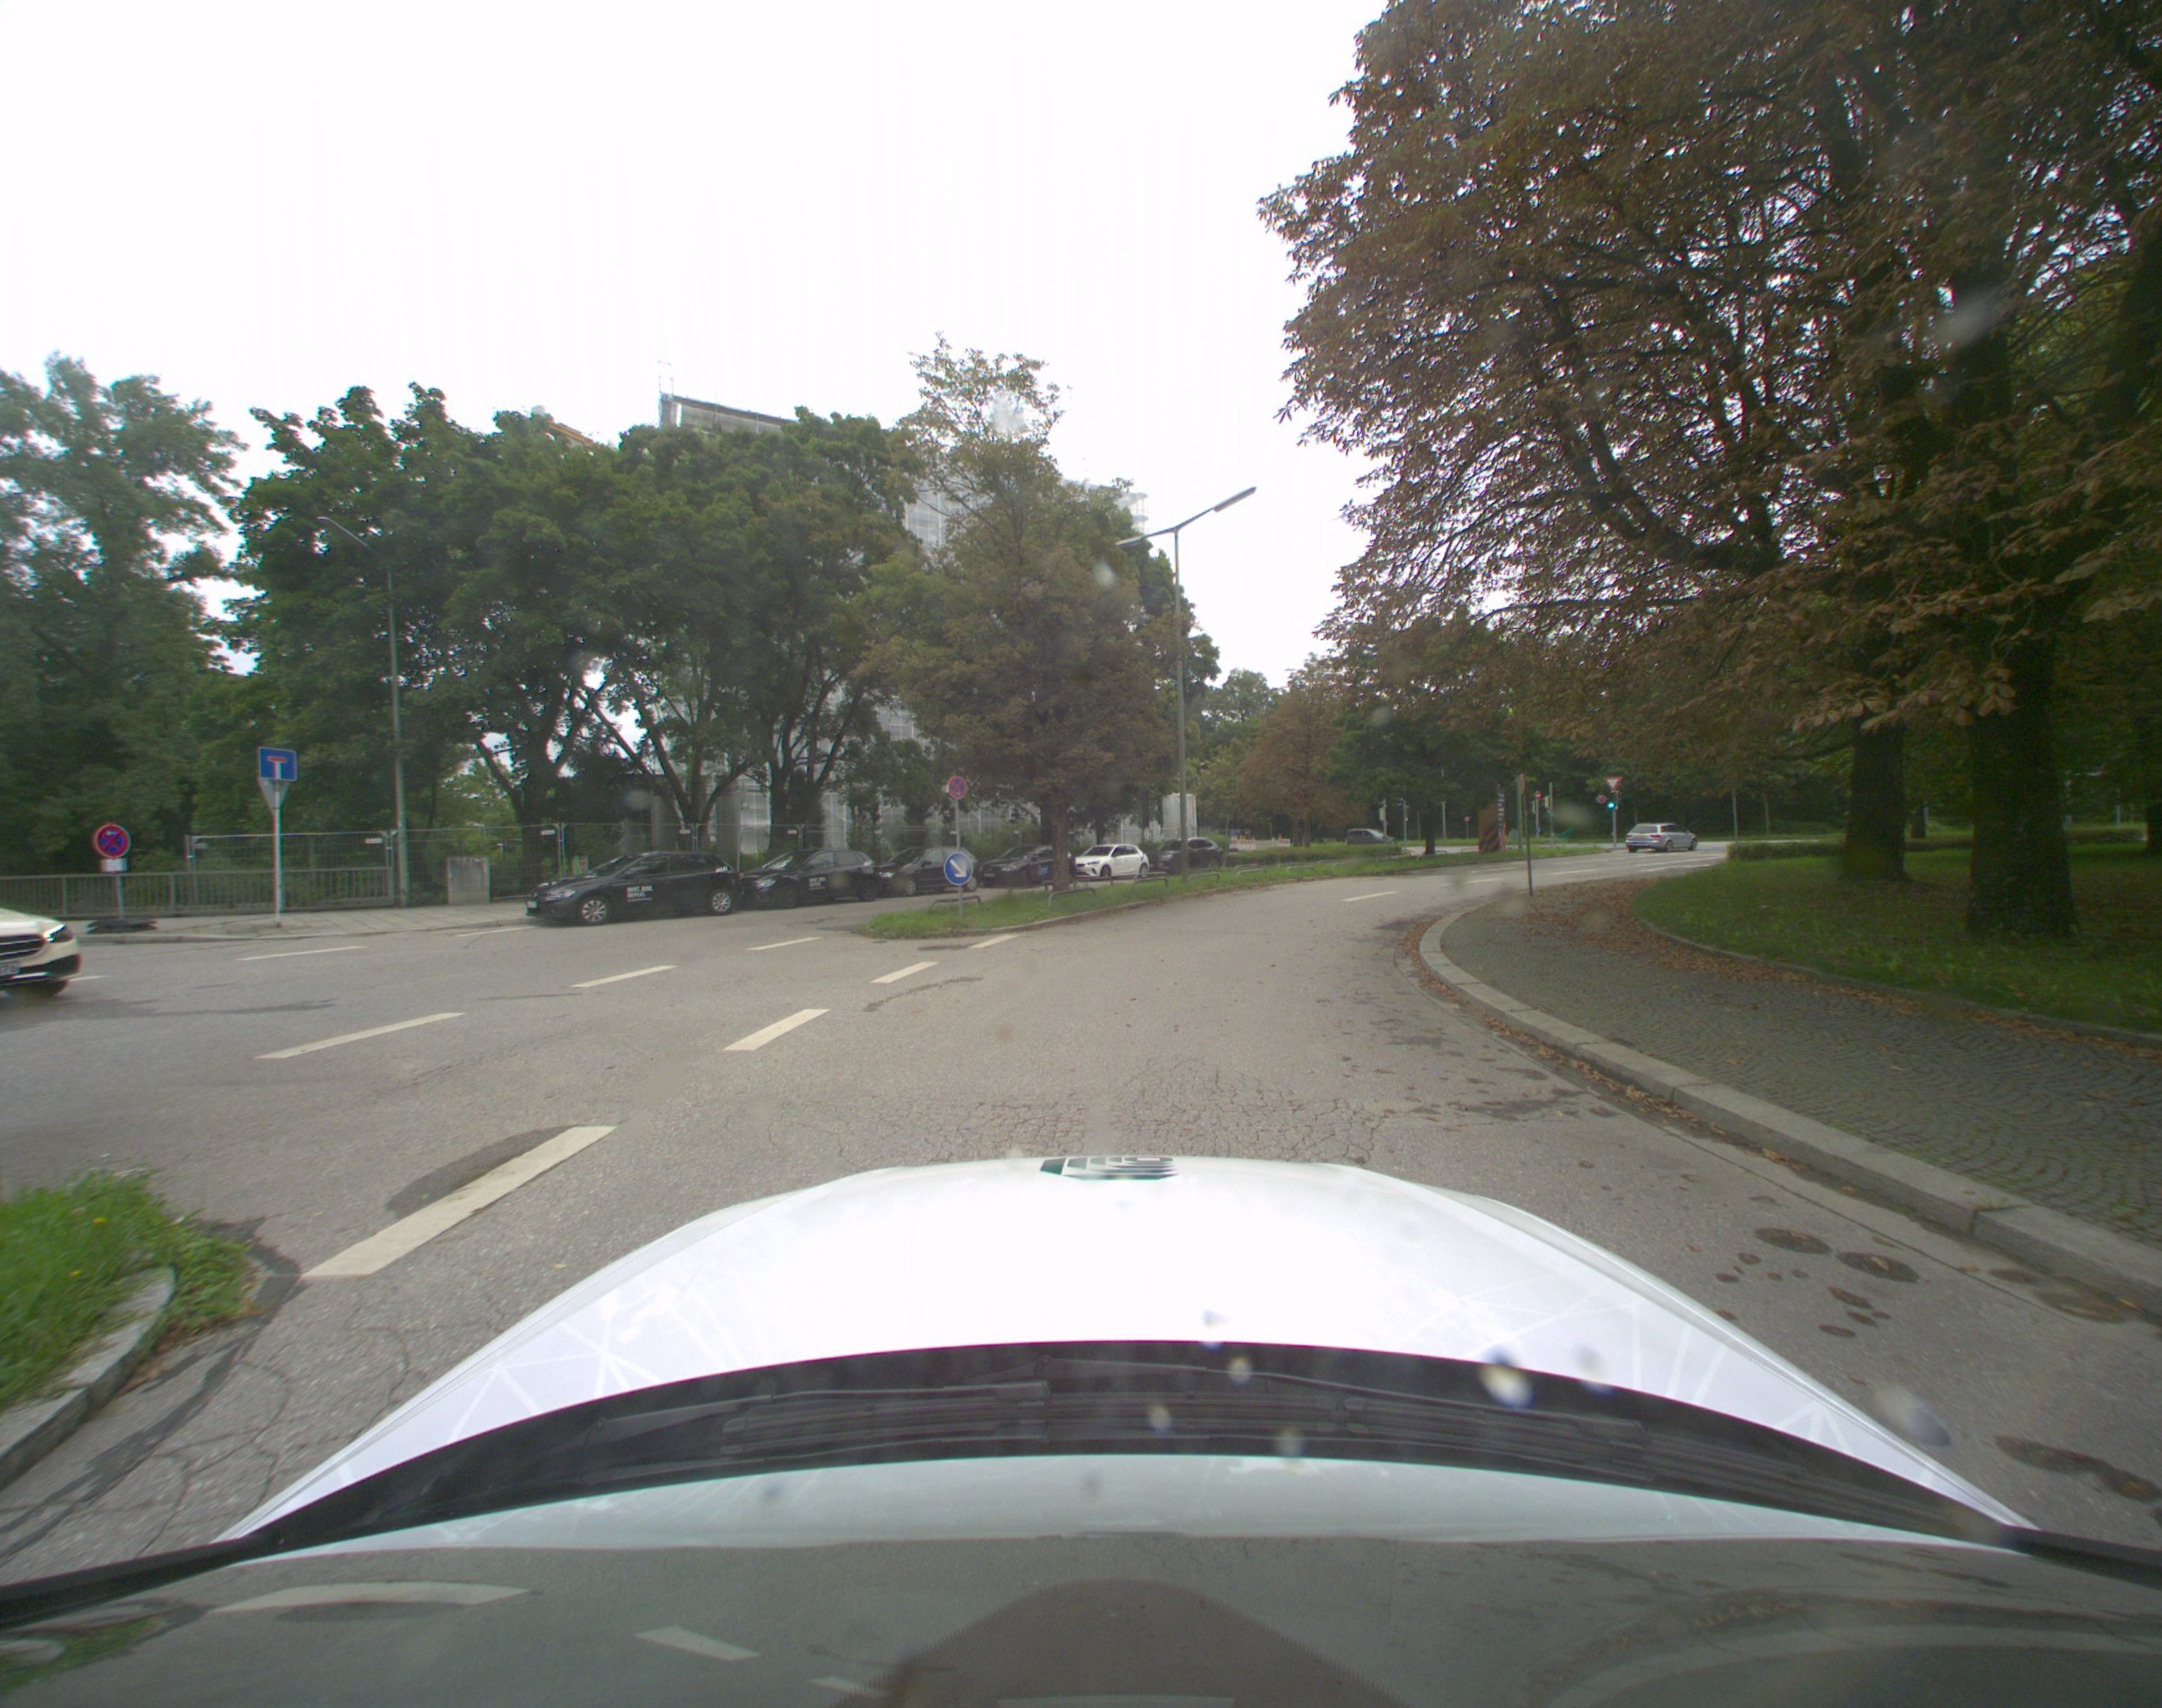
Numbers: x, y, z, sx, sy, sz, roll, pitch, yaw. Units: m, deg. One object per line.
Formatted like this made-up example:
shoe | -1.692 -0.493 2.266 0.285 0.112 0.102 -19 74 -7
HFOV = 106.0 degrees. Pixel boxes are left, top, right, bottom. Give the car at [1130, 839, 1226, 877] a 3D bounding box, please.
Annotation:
car | 4.337 0.192 36.013 4.421 1.606 1.868 0 -1 -44

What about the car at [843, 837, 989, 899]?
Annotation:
car | -4.902 0.384 24.665 1.974 1.706 4.026 -2 0 35

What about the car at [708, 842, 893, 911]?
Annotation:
car | -7.049 0.510 20.810 1.974 1.541 4.026 -1 0 35

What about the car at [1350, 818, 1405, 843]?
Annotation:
car | 25.610 -2.003 70.404 2.009 2.013 3.956 -2 1 -36

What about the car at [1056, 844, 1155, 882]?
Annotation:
car | 1.055 0.335 32.617 1.778 1.383 4.245 -2 0 38

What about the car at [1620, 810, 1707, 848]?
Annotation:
car | 28.785 -1.251 40.220 4.137 1.750 1.981 -2 1 -30

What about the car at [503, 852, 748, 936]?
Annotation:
car | -9.513 0.734 17.303 1.974 1.432 4.069 1 2 36

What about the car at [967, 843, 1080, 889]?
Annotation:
car | -1.947 0.398 28.707 1.816 1.460 4.032 -2 0 35

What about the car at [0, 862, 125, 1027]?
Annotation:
car | -12.655 0.916 8.012 4.810 1.545 1.899 -1 1 8

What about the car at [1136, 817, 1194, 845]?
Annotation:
car | 11.342 -3.089 111.423 3.106 3.448 8.629 -2 0 -33
